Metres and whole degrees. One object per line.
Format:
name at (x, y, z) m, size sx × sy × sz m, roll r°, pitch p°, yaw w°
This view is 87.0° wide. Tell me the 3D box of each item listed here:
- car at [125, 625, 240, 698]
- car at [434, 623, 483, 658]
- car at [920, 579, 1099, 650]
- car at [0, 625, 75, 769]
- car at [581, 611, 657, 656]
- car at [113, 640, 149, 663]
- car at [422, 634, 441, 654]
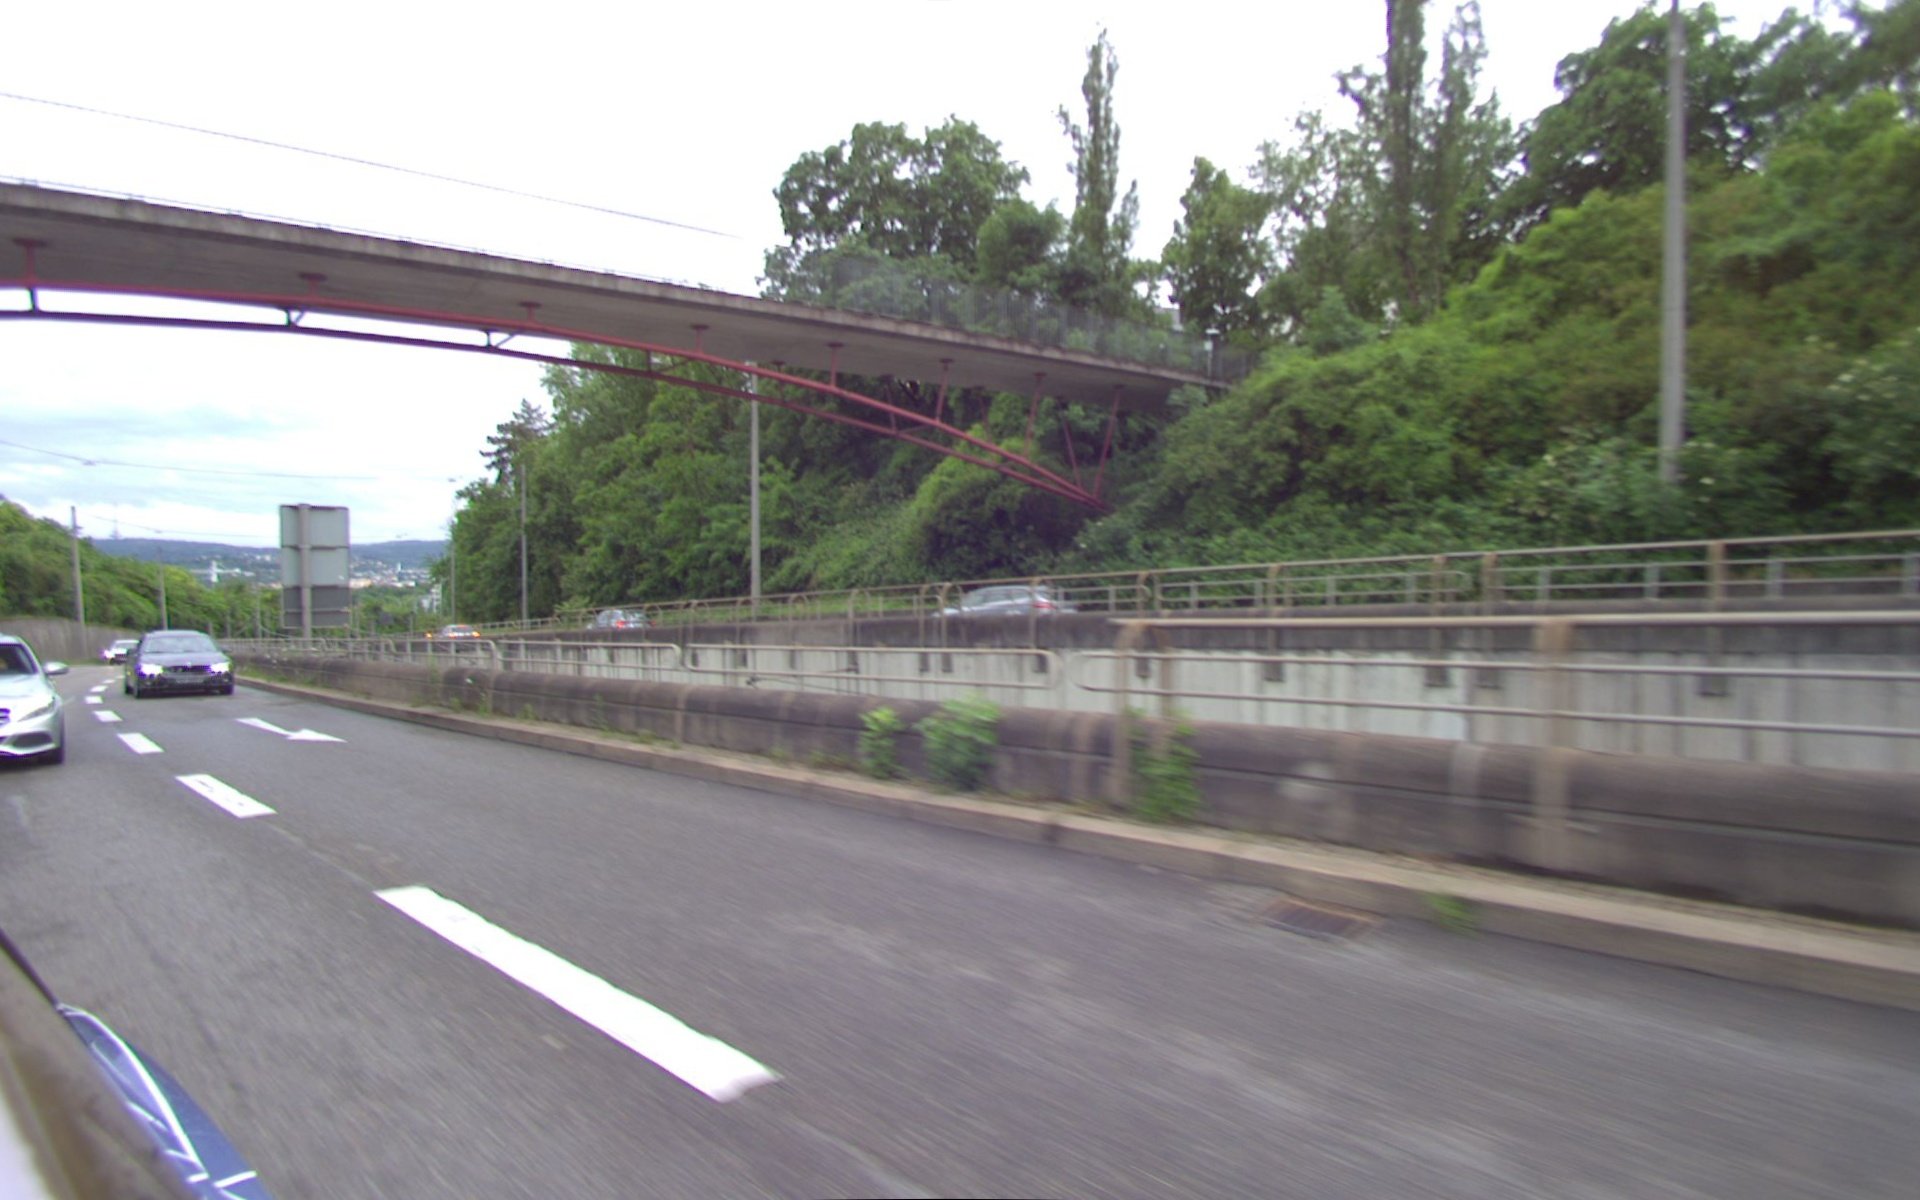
car at (-17.817, 1.361, 23.123) m, size 1.705 × 1.482 × 3.891 m, roll 1°, pitch -2°, yaw -43°
car at (-28.038, 2.258, 56.558) m, size 1.649 × 1.844 × 4.007 m, roll 1°, pitch -3°, yaw -38°
car at (1.230, 0.422, 27.023) m, size 1.970 × 1.734 × 4.707 m, roll 1°, pitch -2°, yaw -45°
car at (-11.412, 1.022, 11.446) m, size 1.835 × 1.413 × 4.317 m, roll -1°, pitch 0°, yaw -45°
car at (-15.312, 1.499, 45.305) m, size 1.650 × 1.930 × 4.565 m, roll 1°, pitch -2°, yaw -41°
car at (-62.486, 3.841, 76.357) m, size 1.782 × 1.521 × 4.009 m, roll -3°, pitch 1°, yaw -36°
car at (-74.755, 6.237, 143.282) m, size 2.152 × 2.755 × 6.365 m, roll 0°, pitch -2°, yaw -26°
